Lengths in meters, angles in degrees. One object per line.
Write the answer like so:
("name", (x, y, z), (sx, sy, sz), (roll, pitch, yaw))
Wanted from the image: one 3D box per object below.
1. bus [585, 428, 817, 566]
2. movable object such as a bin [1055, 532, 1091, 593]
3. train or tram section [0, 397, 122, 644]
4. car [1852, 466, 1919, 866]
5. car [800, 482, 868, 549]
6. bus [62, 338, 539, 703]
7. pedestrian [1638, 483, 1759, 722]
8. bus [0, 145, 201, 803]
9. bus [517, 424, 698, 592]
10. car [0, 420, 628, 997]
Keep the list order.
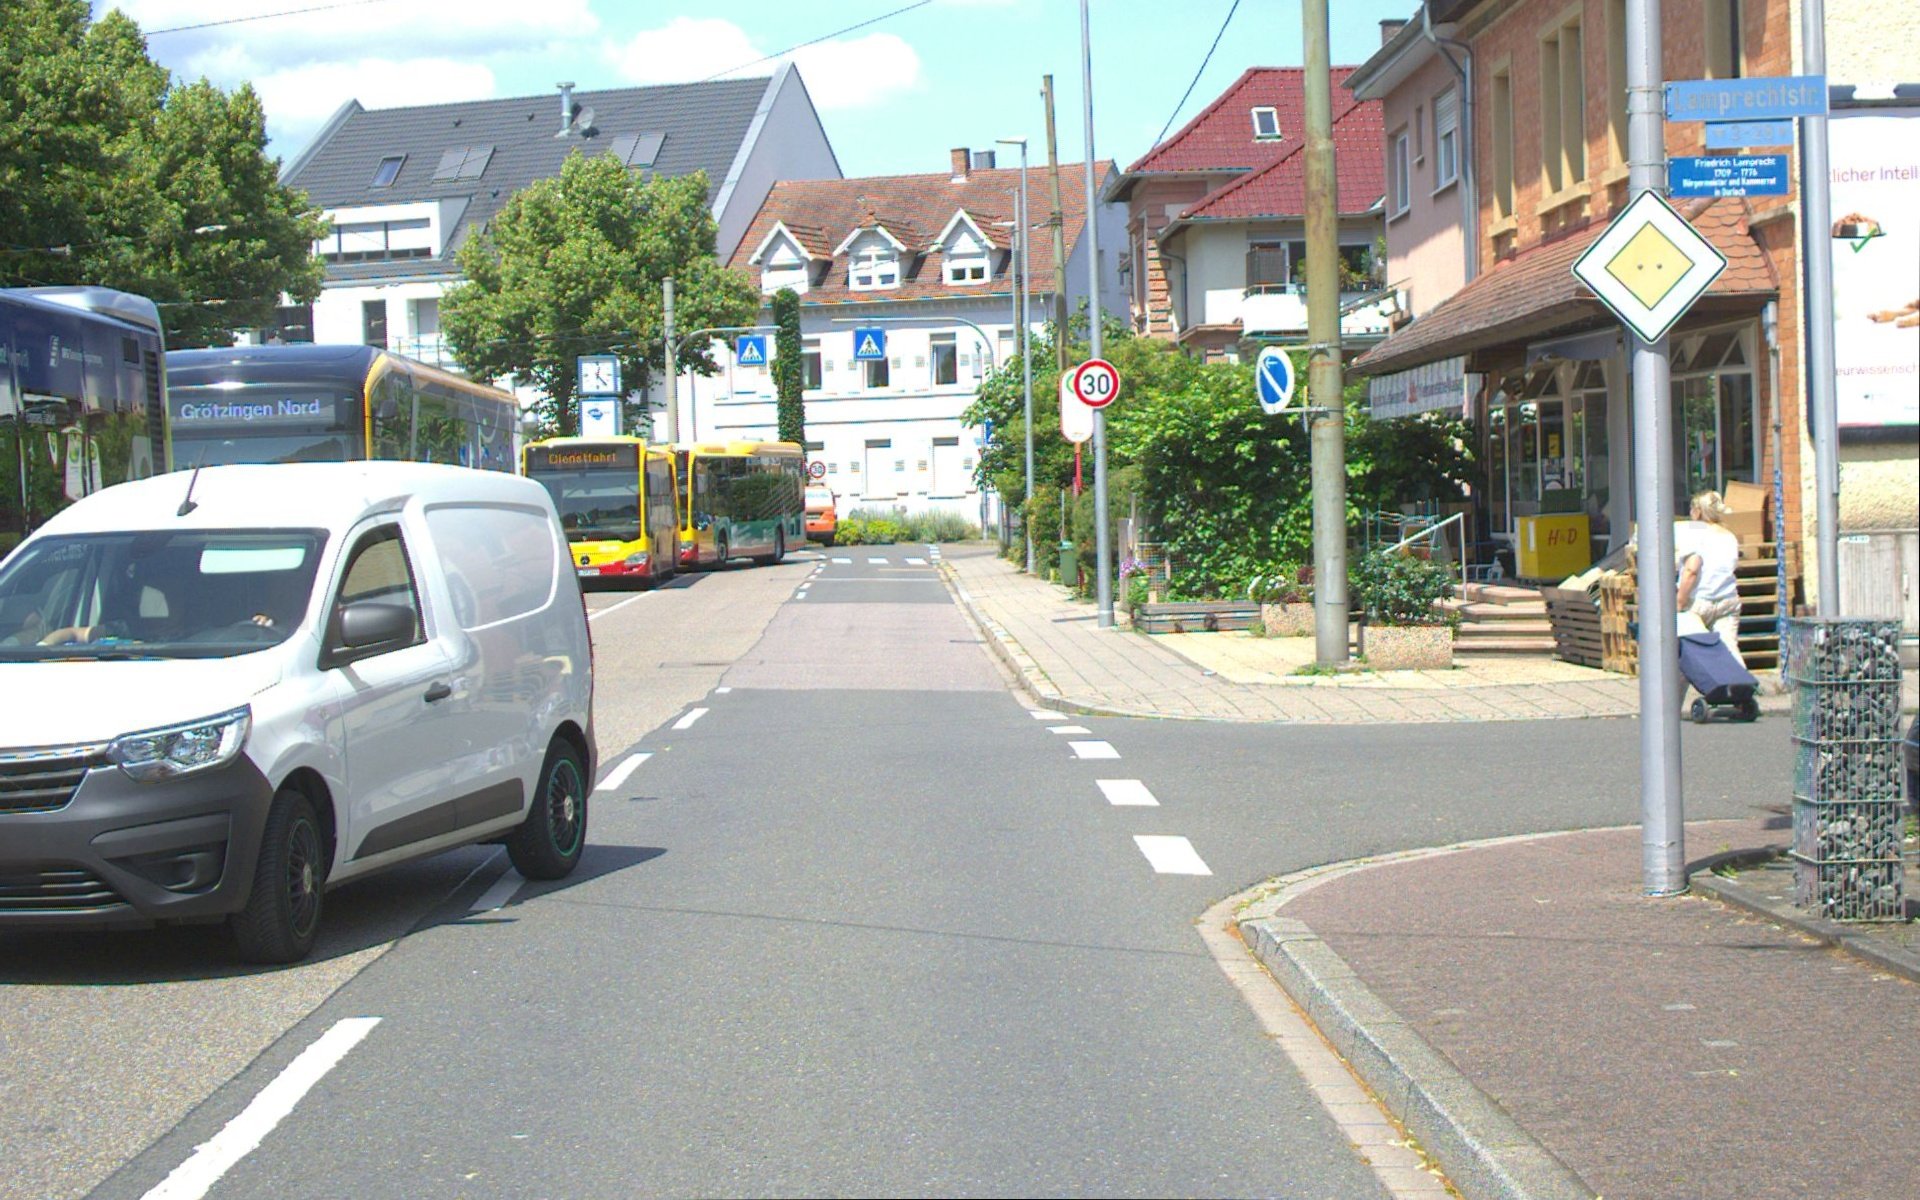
("bus", (-6.328, -2.661, 86.493), (2.781, 3.197, 12.302), (1, 2, 10))
("movable object such as a bin", (1.773, -0.586, 53.907), (0.406, 0.904, 0.729), (-5, 1, -4))
("train or tram section", (-15.583, -1.193, 51.367), (2.963, 3.630, 13.995), (0, 1, -1))
("car", (5.668, 0.199, 13.232), (3.875, 1.537, 1.843), (-2, 1, -14))
("car", (-3.915, -2.615, 107.266), (1.993, 2.007, 4.000), (0, 0, 0))
("bus", (-6.628, -0.740, 36.765), (2.898, 3.236, 12.197), (0, 0, -1))
("pedestrian", (5.229, 0.013, 24.324), (0.705, 1.635, 0.659), (-2, 3, 19))
("bus", (-6.424, -0.656, 17.176), (2.907, 3.415, 12.041), (0, 0, -2))
("bus", (-7.312, -1.920, 72.878), (2.907, 3.236, 12.120), (0, 1, -2))
("car", (-2.841, 0.333, 13.482), (1.705, 1.844, 4.710), (0, 0, 12))
